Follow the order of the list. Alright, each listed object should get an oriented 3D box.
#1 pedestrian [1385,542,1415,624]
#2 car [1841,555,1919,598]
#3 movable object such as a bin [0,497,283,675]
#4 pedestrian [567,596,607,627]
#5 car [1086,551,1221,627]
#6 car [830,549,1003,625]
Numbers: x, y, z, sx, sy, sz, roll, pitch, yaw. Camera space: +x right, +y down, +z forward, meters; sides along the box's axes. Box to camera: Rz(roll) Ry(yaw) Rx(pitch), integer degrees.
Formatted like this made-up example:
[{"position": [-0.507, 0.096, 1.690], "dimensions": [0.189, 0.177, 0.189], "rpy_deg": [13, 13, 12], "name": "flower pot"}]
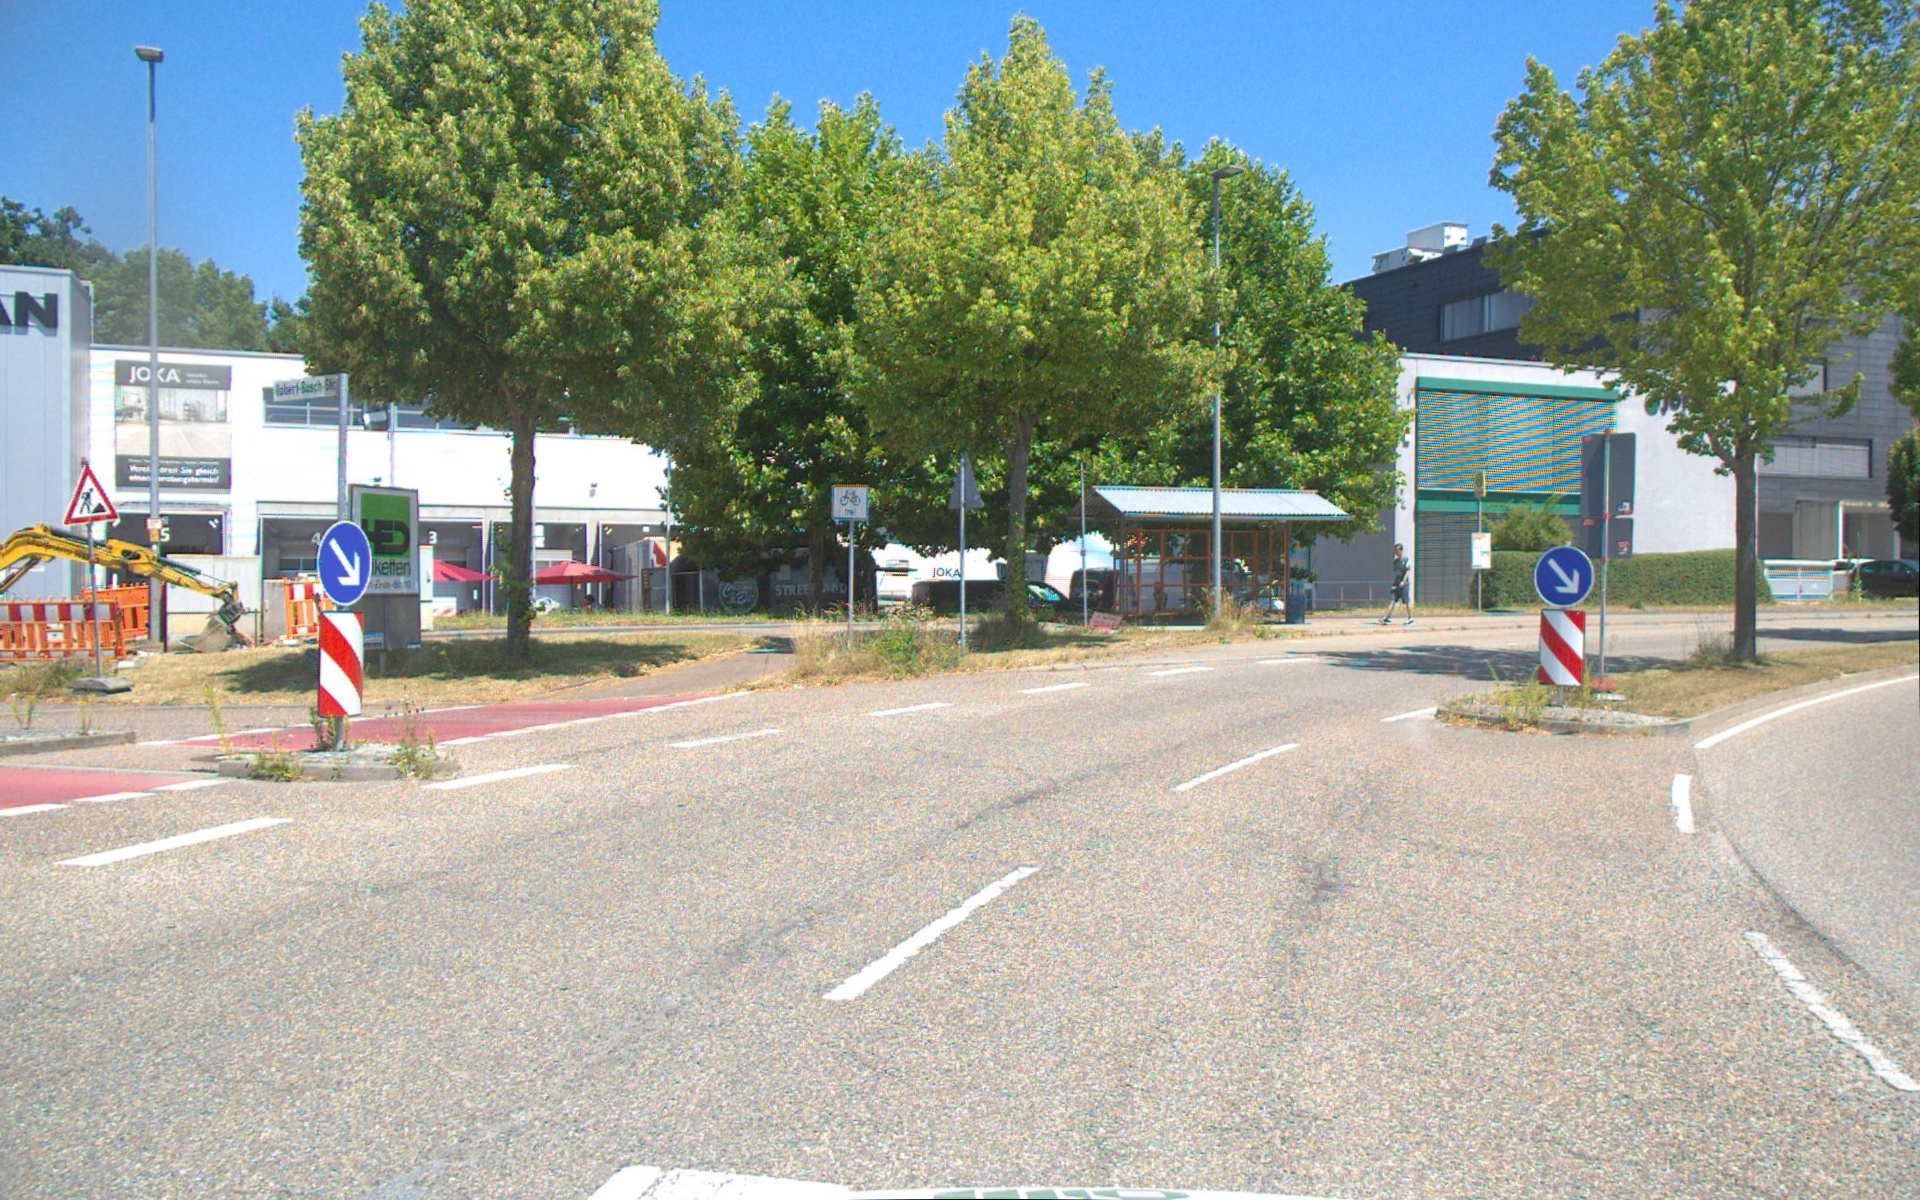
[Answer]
[{"position": [9.320, -0.358, 35.053], "dimensions": [0.518, 1.699, 0.580], "rpy_deg": [1, -2, 5], "name": "pedestrian"}, {"position": [31.949, -0.785, 55.655], "dimensions": [1.677, 1.403, 3.890], "rpy_deg": [-2, 0, -23], "name": "car"}, {"position": [-14.499, -0.182, 26.552], "dimensions": [6.455, 2.626, 1.990], "rpy_deg": [-3, 0, -18], "name": "movable object such as a bin"}, {"position": [-8.936, 0.271, 39.677], "dimensions": [0.846, 0.707, 0.408], "rpy_deg": [-1, 0, 1], "name": "pedestrian"}, {"position": [5.535, -0.281, 47.698], "dimensions": [1.529, 2.049, 4.217], "rpy_deg": [2, -2, -33], "name": "car"}, {"position": [-1.090, -0.338, 41.263], "dimensions": [3.930, 1.758, 1.829], "rpy_deg": [-2, 1, -21], "name": "car"}]
